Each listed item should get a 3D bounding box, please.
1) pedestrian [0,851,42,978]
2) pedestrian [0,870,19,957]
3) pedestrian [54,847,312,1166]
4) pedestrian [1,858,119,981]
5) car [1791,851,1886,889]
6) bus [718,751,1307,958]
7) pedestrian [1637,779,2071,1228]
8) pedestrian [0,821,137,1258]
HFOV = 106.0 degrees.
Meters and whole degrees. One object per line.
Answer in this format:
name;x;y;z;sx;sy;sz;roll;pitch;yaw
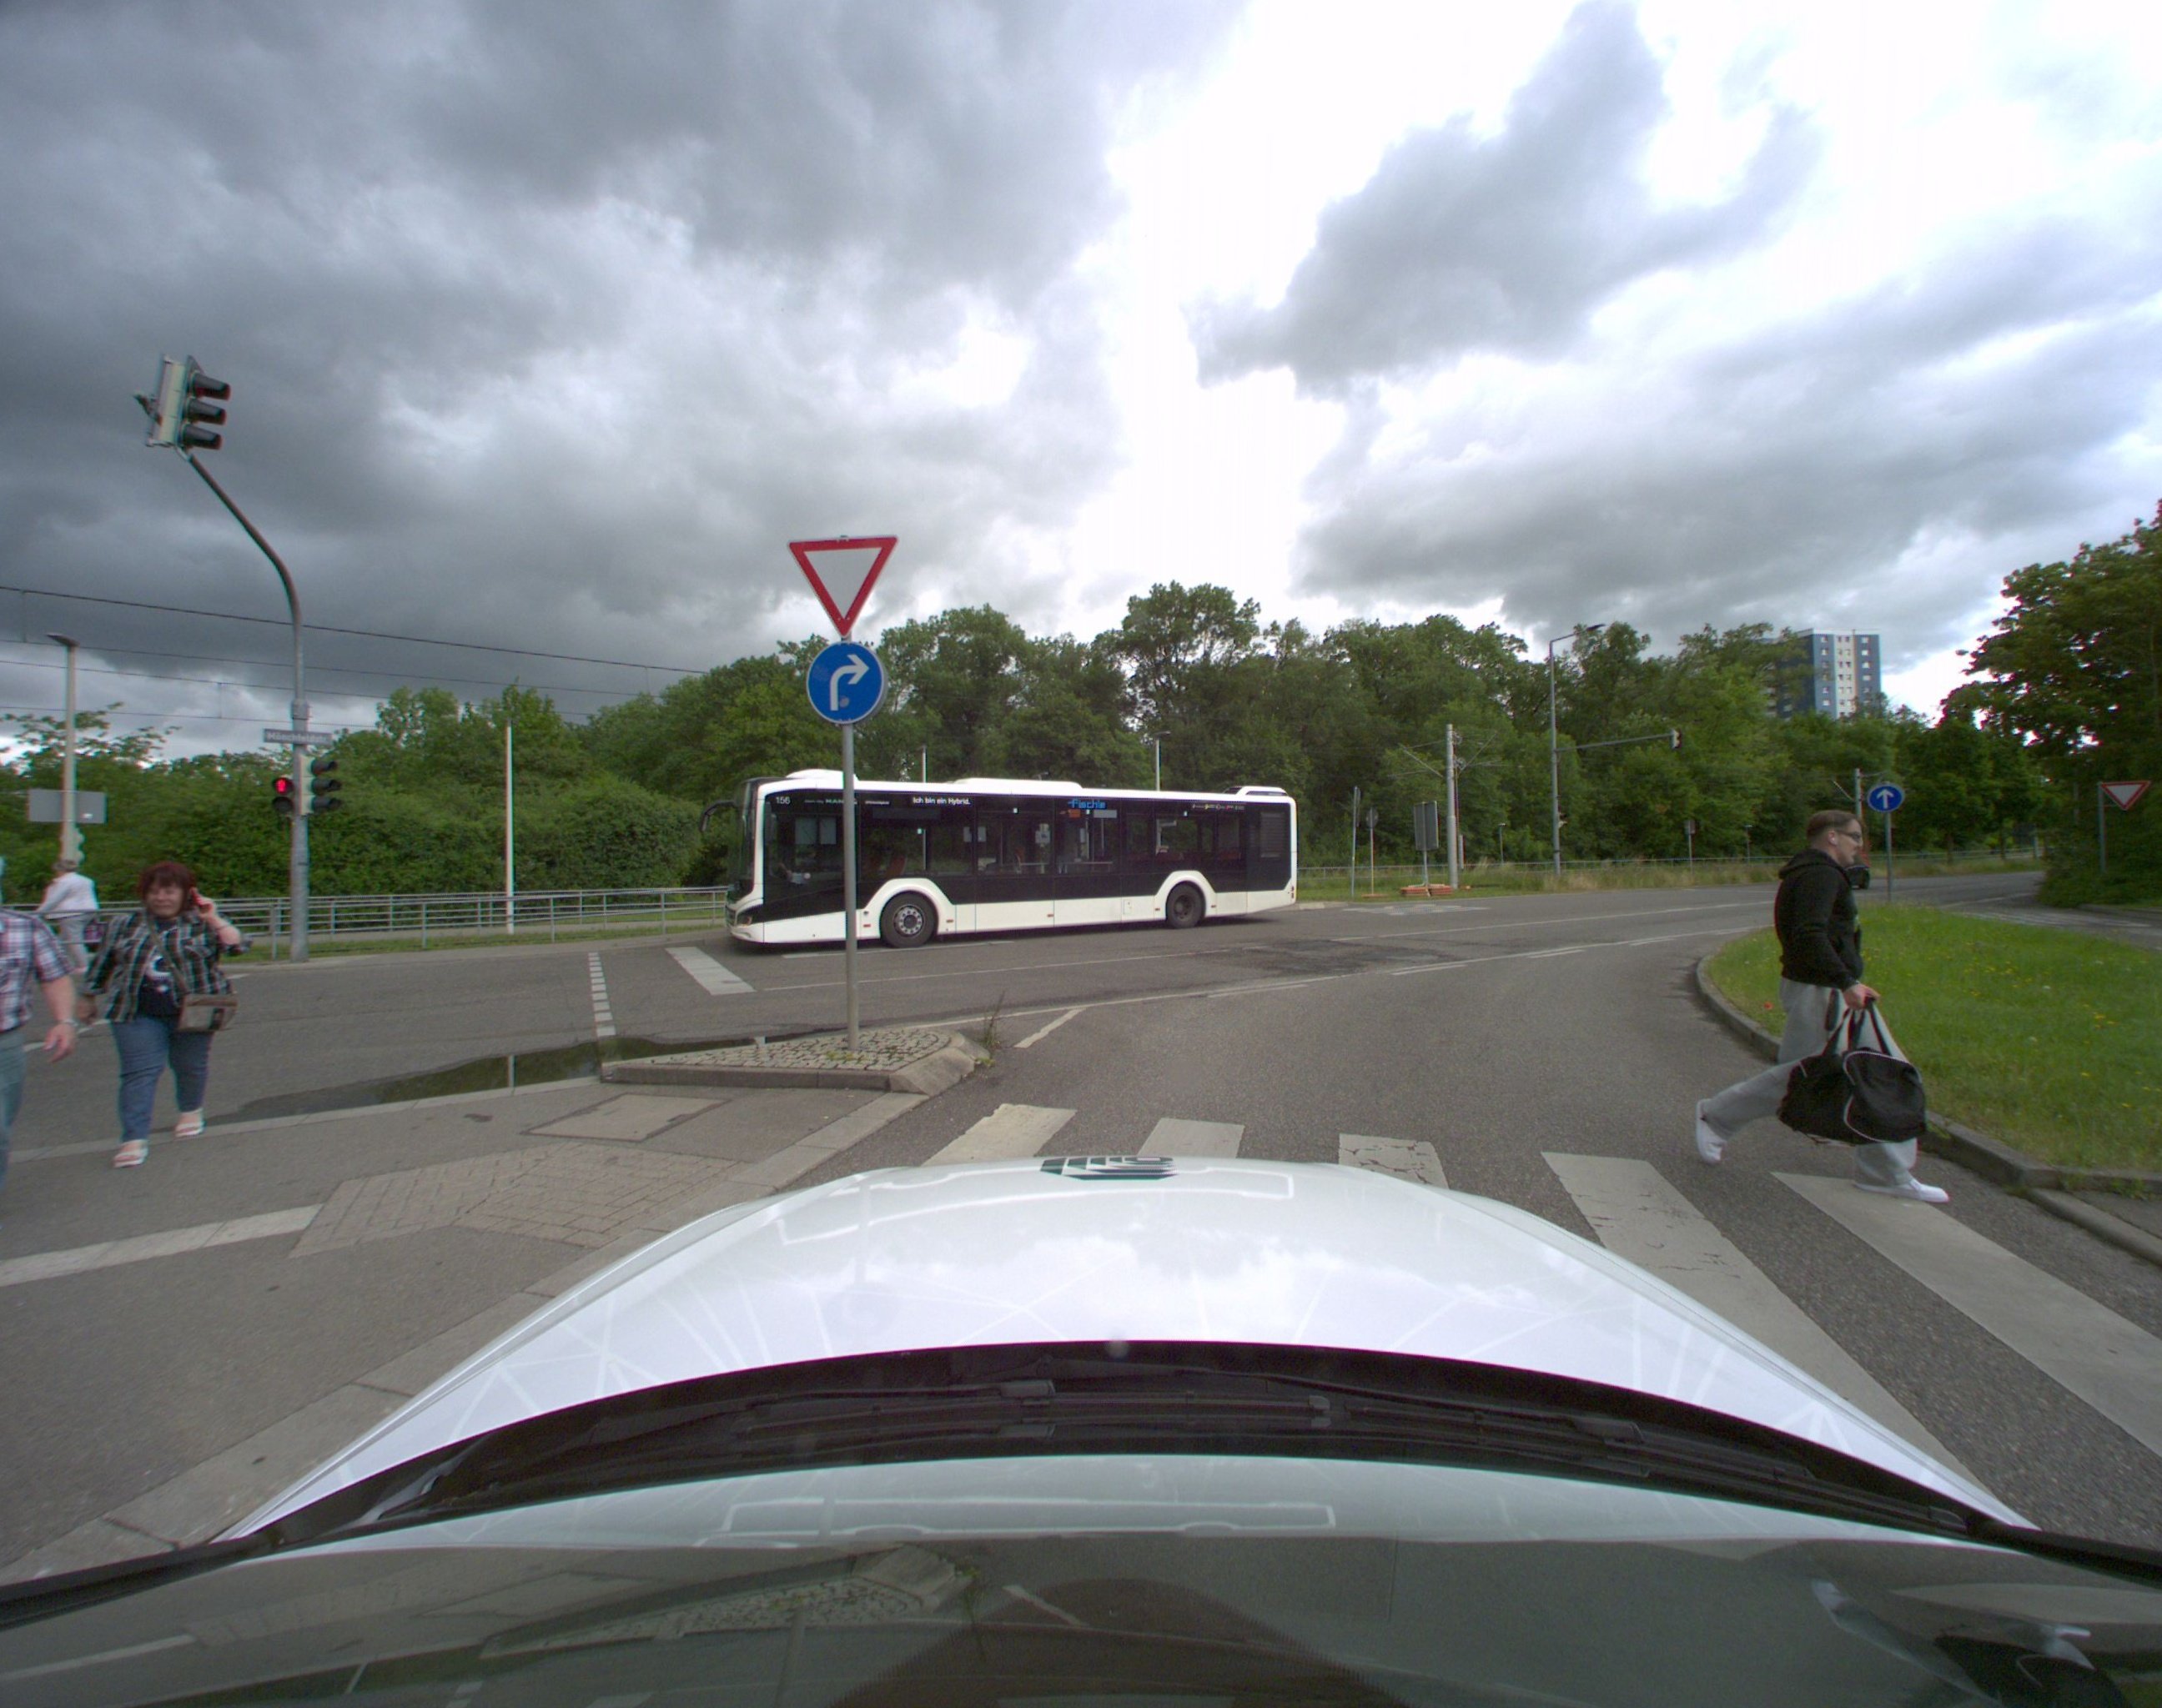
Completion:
pedestrian;-15.367;0.843;11.338;0.724;1.748;0.949;0;-1;-25
pedestrian;-20.581;1.119;15.151;0.725;1.621;0.797;0;-1;-31
pedestrian;-4.878;0.758;4.456;0.724;1.567;0.695;-1;-1;19
pedestrian;-15.218;0.938;12.171;0.724;1.748;0.949;0;-1;-25
car;30.931;0.620;33.219;4.444;1.434;1.743;0;-1;-32
bus;-0.706;-0.014;16.875;12.238;3.203;2.649;0;-1;-31
pedestrian;3.425;0.588;3.755;0.952;1.747;1.061;-1;-1;-3
pedestrian;-4.365;0.709;3.260;0.713;1.634;0.703;-4;-4;39
